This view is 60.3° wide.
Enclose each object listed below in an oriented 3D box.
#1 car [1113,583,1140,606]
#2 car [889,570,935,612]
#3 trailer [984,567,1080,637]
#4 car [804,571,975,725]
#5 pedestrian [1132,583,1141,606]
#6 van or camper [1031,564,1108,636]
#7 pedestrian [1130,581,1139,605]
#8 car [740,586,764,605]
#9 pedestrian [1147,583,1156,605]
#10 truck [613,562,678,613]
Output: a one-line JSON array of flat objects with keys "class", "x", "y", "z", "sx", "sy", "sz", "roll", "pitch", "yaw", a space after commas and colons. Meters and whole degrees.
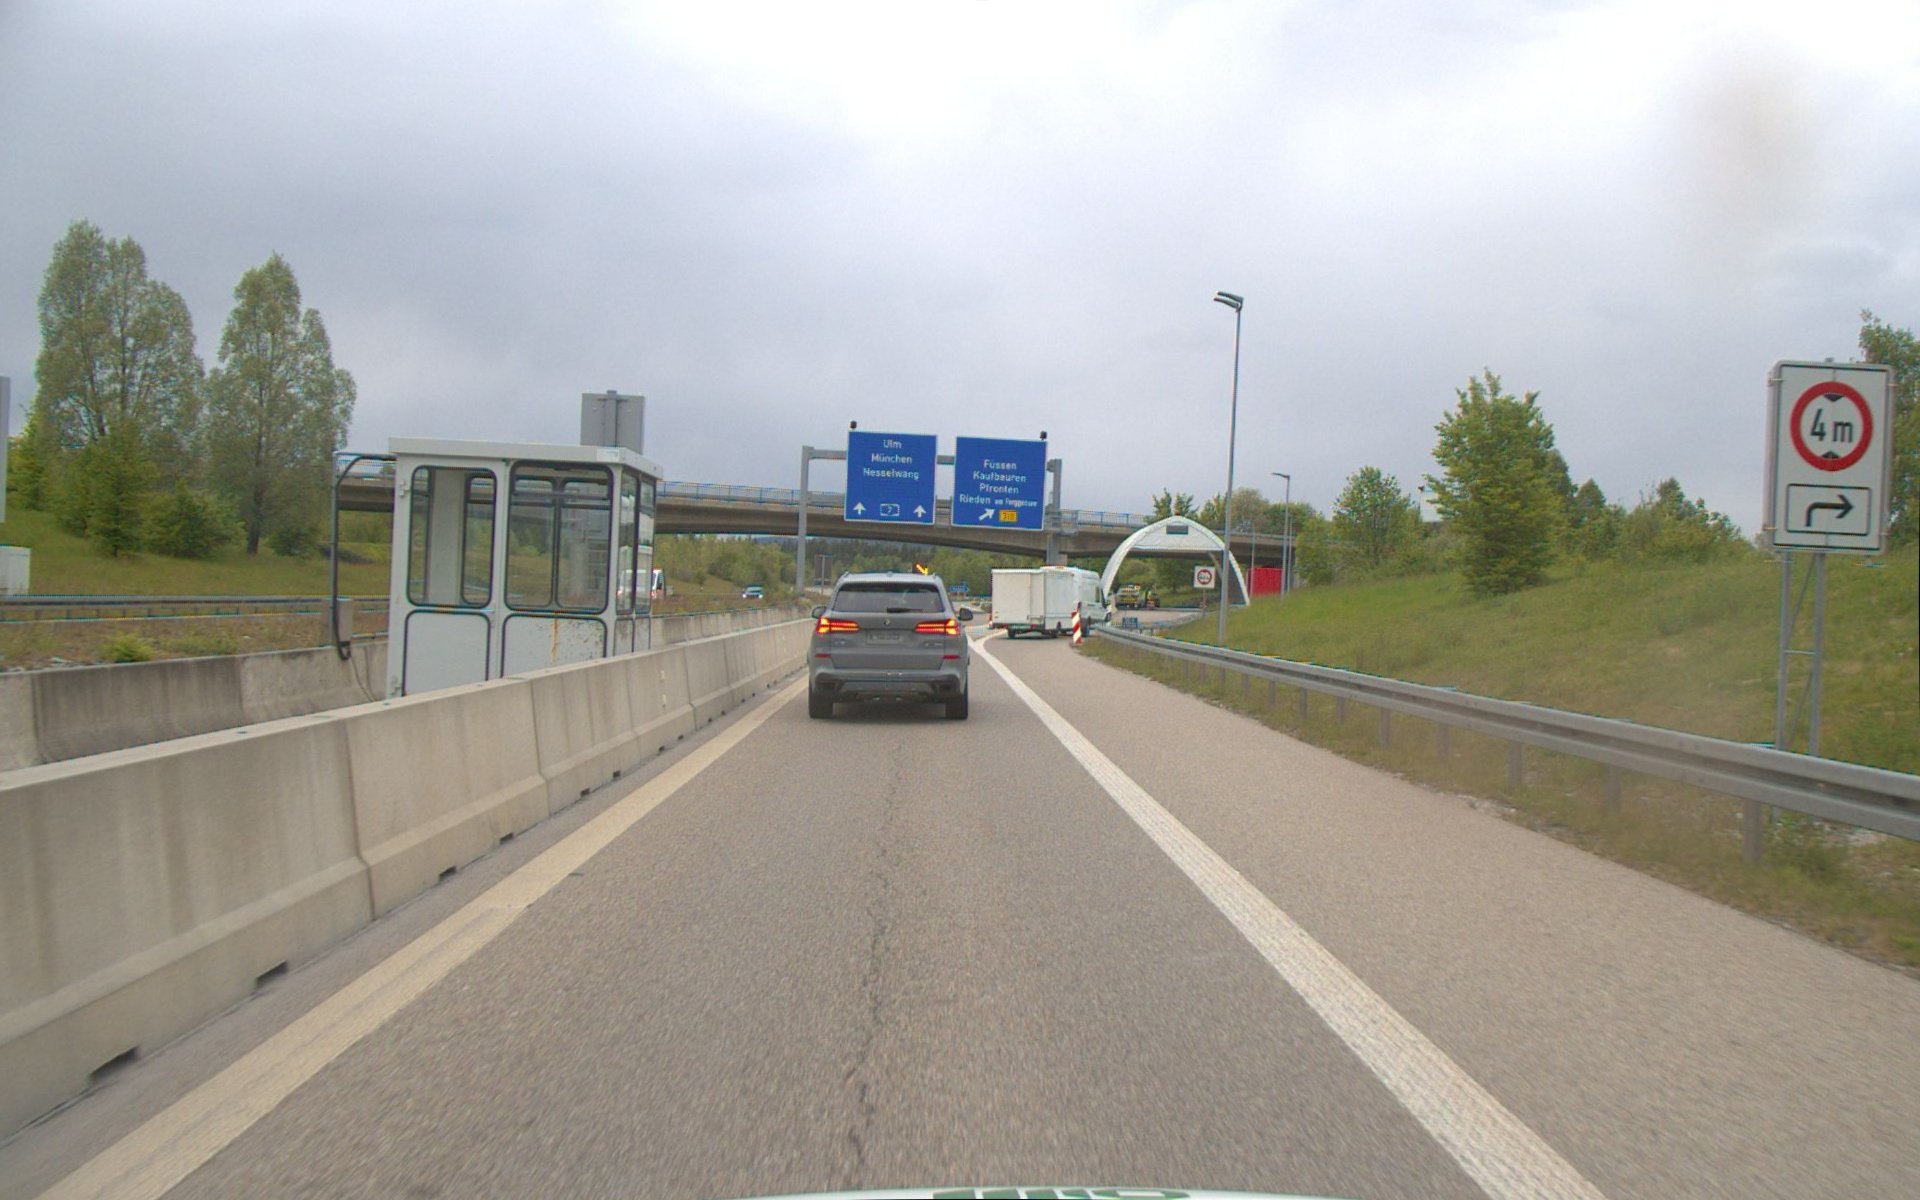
[{"class": "car", "x": 13.125, "y": -0.432, "z": 130.390, "sx": 1.952, "sy": 1.803, "sz": 3.767, "roll": 0, "pitch": 0, "yaw": 3}, {"class": "car", "x": -2.486, "y": -0.466, "z": 84.457, "sx": 2.240, "sy": 2.049, "sz": 5.048, "roll": 1, "pitch": 1, "yaw": -2}, {"class": "trailer", "x": 2.816, "y": 0.096, "z": 62.433, "sx": 2.230, "sy": 2.473, "sz": 6.822, "roll": 1, "pitch": 0, "yaw": 15}, {"class": "car", "x": -0.850, "y": 0.546, "z": 21.118, "sx": 1.953, "sy": 1.749, "sz": 3.999, "roll": 1, "pitch": 0, "yaw": -1}, {"class": "pedestrian", "x": 14.155, "y": -0.433, "z": 132.898, "sx": 0.705, "sy": 1.806, "sz": 0.690, "roll": 0, "pitch": 0, "yaw": 3}, {"class": "van or camper", "x": 4.592, "y": 0.009, "z": 68.497, "sx": 2.111, "sy": 2.812, "sz": 5.875, "roll": 1, "pitch": 0, "yaw": 14}, {"class": "pedestrian", "x": 14.116, "y": -0.553, "z": 133.732, "sx": 0.705, "sy": 1.979, "sz": 0.690, "roll": 0, "pitch": 0, "yaw": 3}, {"class": "car", "x": -17.262, "y": -0.361, "z": 137.109, "sx": 1.575, "sy": 1.527, "sz": 3.837, "roll": 1, "pitch": 0, "yaw": -2}, {"class": "pedestrian", "x": 15.511, "y": -0.476, "z": 133.777, "sx": 0.634, "sy": 1.806, "sz": 0.606, "roll": 0, "pitch": 0, "yaw": 1}, {"class": "truck", "x": -16.375, "y": -0.649, "z": 86.416, "sx": 2.309, "sy": 2.522, "sz": 5.986, "roll": 2, "pitch": 0, "yaw": -2}]
